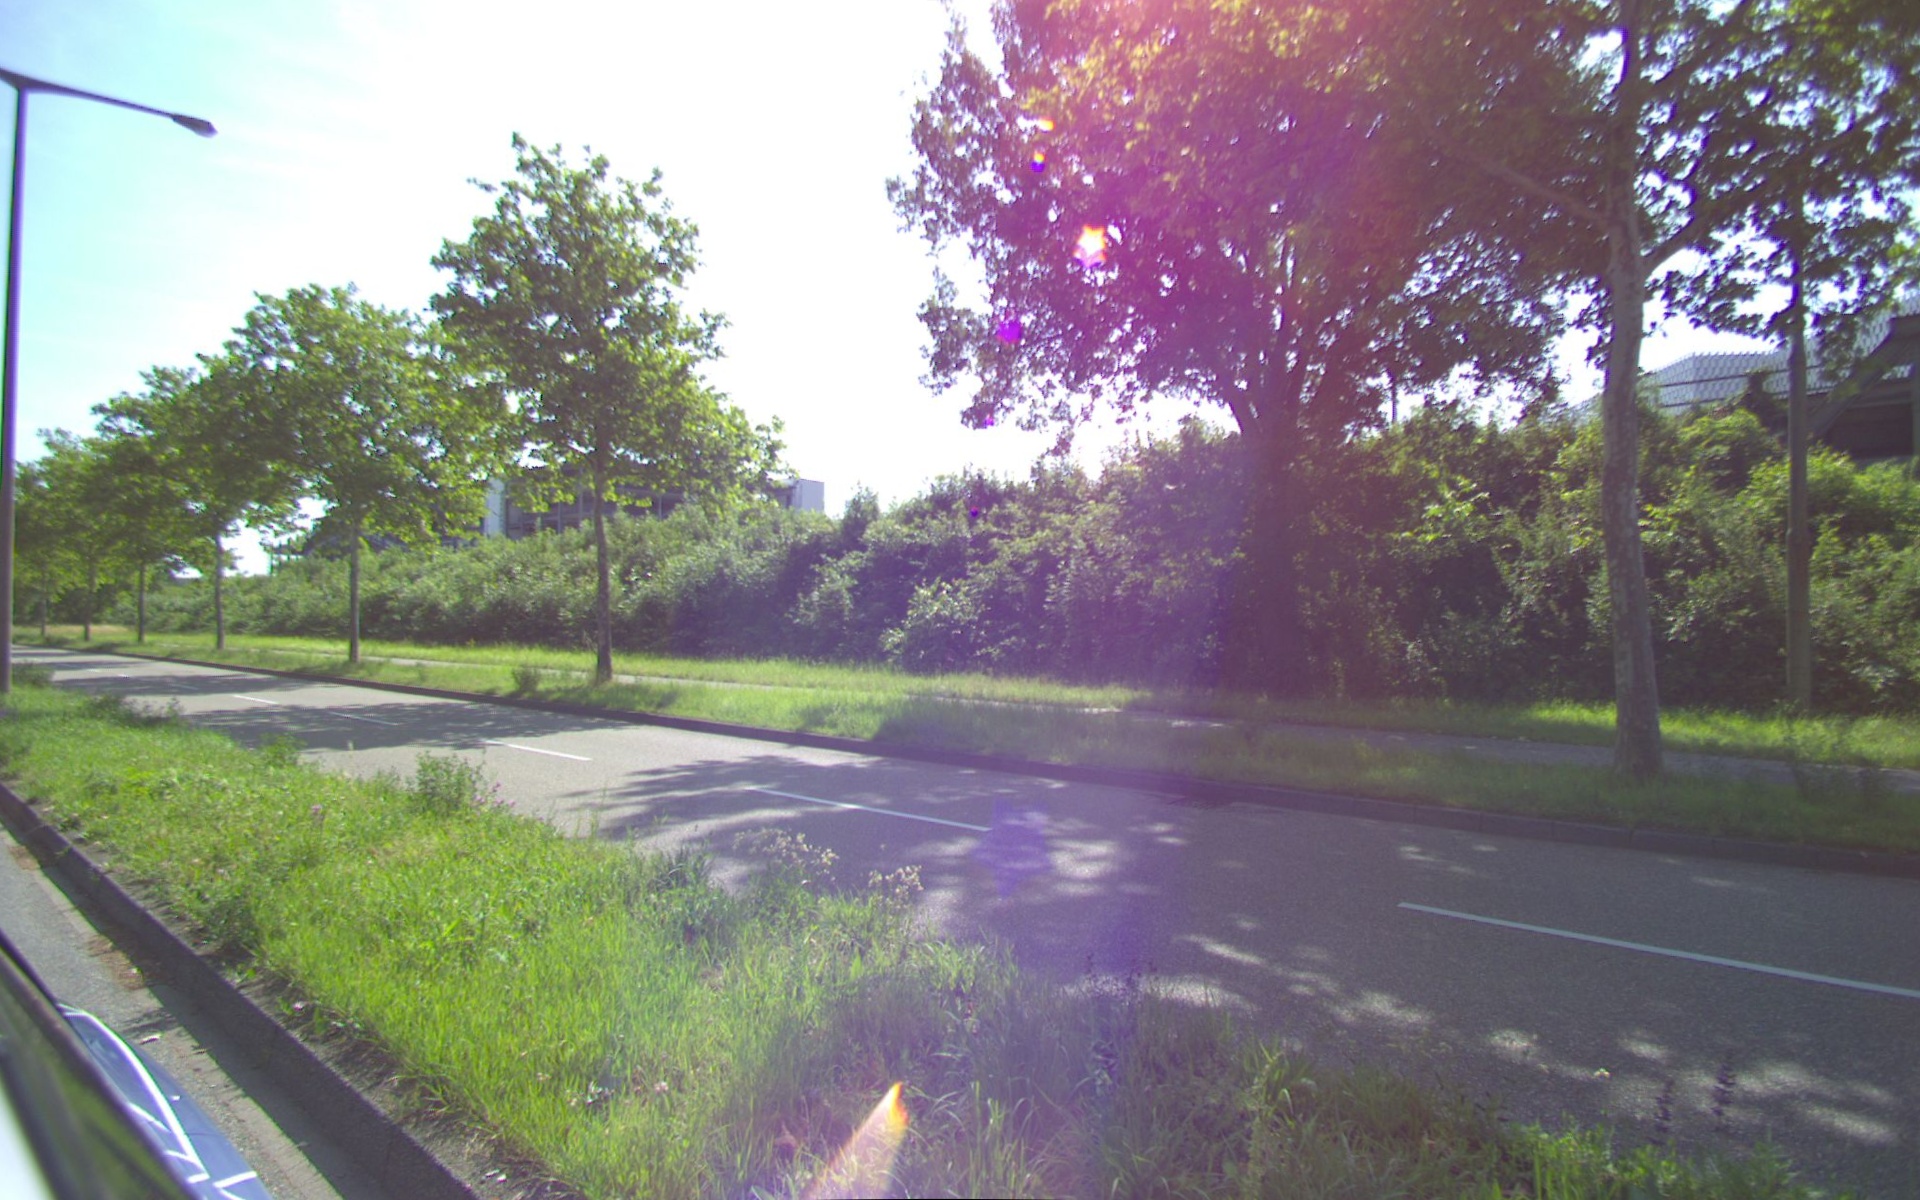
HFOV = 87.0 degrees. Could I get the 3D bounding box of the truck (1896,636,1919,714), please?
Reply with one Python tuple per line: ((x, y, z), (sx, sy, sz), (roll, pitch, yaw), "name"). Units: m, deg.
((23.556, 1.685, 21.853), (2.007, 1.833, 5.315), (-2, -2, 6), "truck")
